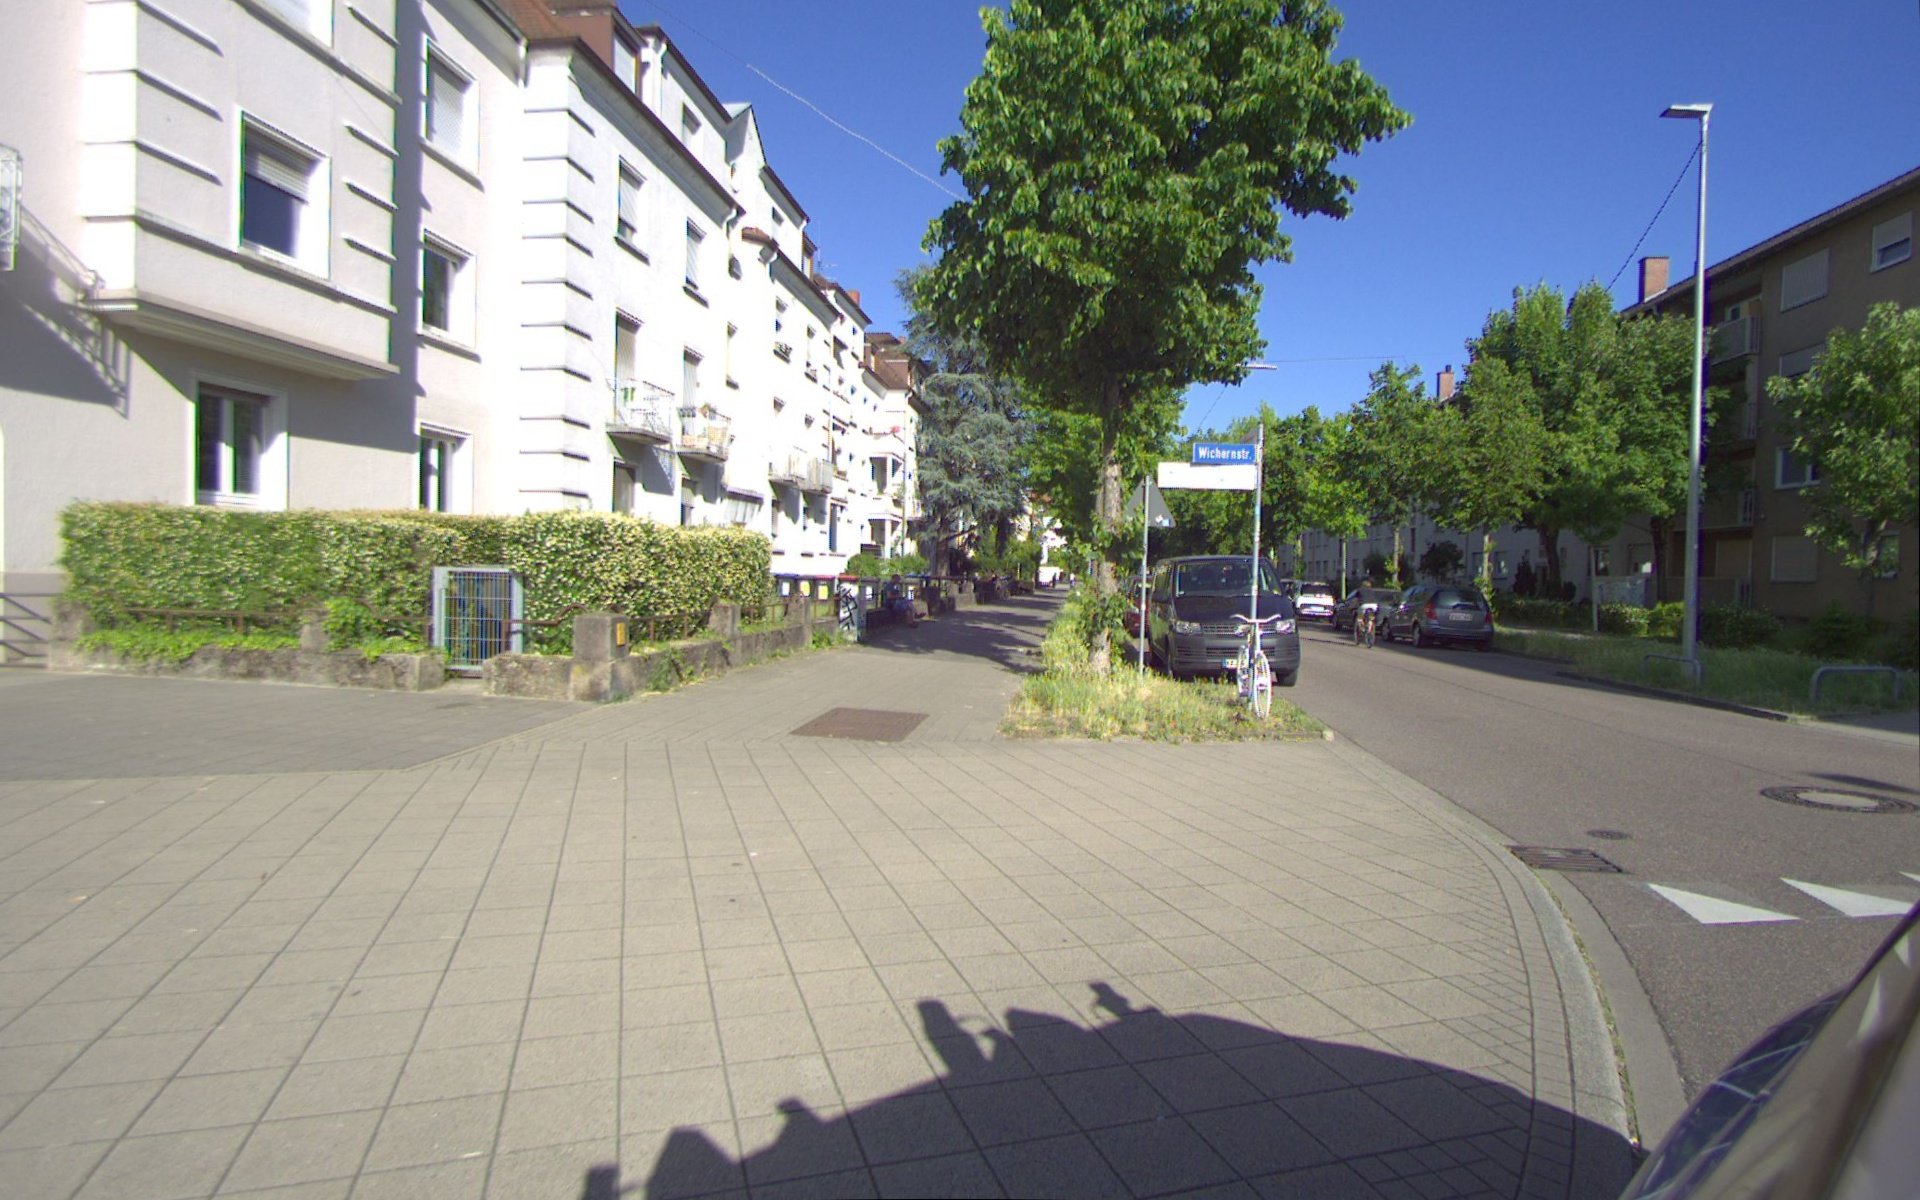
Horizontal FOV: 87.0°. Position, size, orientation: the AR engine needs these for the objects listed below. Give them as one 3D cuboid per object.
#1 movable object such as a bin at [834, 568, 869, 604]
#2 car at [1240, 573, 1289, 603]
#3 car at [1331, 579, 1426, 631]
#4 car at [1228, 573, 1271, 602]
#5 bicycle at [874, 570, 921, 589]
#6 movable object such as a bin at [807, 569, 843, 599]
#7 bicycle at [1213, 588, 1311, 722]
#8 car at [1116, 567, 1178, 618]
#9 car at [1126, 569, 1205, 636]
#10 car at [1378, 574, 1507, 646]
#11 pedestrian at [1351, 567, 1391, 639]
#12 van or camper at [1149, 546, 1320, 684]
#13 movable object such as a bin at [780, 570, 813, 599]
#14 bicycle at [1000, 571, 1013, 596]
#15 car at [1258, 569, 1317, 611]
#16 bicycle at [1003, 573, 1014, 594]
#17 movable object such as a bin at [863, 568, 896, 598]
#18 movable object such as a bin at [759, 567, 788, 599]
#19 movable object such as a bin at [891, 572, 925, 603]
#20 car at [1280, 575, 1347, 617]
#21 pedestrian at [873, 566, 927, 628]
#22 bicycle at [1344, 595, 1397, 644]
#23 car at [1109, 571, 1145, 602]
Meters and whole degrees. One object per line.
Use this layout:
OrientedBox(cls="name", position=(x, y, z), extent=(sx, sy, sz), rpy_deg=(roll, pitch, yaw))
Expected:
OrientedBox(cls="movable object such as a bin", position=(-3.222, -0.417, 30.114), extent=(0.766, 1.039, 1.006), rpy_deg=(-1, 2, 12))
OrientedBox(cls="car", position=(15.510, -0.642, 51.766), extent=(1.634, 1.409, 4.230), rpy_deg=(1, 2, 7))
OrientedBox(cls="car", position=(13.042, 0.103, 31.777), extent=(1.636, 1.412, 4.086), rpy_deg=(-1, 2, 6))
OrientedBox(cls="car", position=(16.102, -0.727, 56.513), extent=(1.626, 1.462, 3.961), rpy_deg=(2, 3, 7))
OrientedBox(cls="bicycle", position=(-2.827, -0.932, 45.952), extent=(2.033, 0.779, 0.625), rpy_deg=(-3, 2, 9))
OrientedBox(cls="movable object such as a bin", position=(-4.038, -0.488, 30.304), extent=(0.766, 0.873, 1.006), rpy_deg=(-1, 2, 13))
OrientedBox(cls="bicycle", position=(3.130, 0.514, 10.656), extent=(0.520, 1.208, 2.029), rpy_deg=(1, 2, 4))
OrientedBox(cls="car", position=(6.792, -0.332, 37.131), extent=(1.904, 1.586, 4.585), rpy_deg=(3, 3, 8))
OrientedBox(cls="car", position=(5.669, -0.020, 28.438), extent=(1.873, 1.633, 4.962), rpy_deg=(1, 2, 8))
OrientedBox(cls="car", position=(12.324, 0.183, 26.157), extent=(1.696, 1.581, 4.102), rpy_deg=(2, 2, 7))
OrientedBox(cls="pedestrian", position=(9.724, 0.053, 23.973), extent=(0.681, 1.660, 1.043), rpy_deg=(-1, 2, 13))
OrientedBox(cls="van or camper", position=(4.272, 0.105, 16.610), extent=(1.962, 1.885, 5.378), rpy_deg=(-1, 2, 7))
OrientedBox(cls="movable object such as a bin", position=(-4.888, -0.478, 30.302), extent=(0.766, 0.832, 0.740), rpy_deg=(-1, 2, 12))
OrientedBox(cls="bicycle", position=(2.323, -0.849, 50.556), extent=(0.482, 1.212, 2.172), rpy_deg=(-1, 2, 7))
OrientedBox(cls="car", position=(14.794, -0.501, 45.955), extent=(1.680, 1.700, 4.217), rpy_deg=(2, 3, 7))
OrientedBox(cls="bicycle", position=(2.568, -0.856, 53.111), extent=(0.426, 1.024, 2.247), rpy_deg=(-4, 2, 5))
OrientedBox(cls="movable object such as a bin", position=(-2.386, -0.509, 30.024), extent=(0.766, 0.873, 0.763), rpy_deg=(-1, 2, 12))
OrientedBox(cls="movable object such as a bin", position=(-5.632, -0.525, 30.580), extent=(0.662, 0.933, 0.594), rpy_deg=(-1, 2, 13))
OrientedBox(cls="movable object such as a bin", position=(-1.531, -0.386, 29.872), extent=(0.766, 0.873, 1.006), rpy_deg=(-1, 2, 12))
OrientedBox(cls="car", position=(14.161, -0.205, 40.739), extent=(1.692, 1.545, 3.995), rpy_deg=(-1, 2, 6))
OrientedBox(cls="pedestrian", position=(-1.329, -0.075, 22.591), extent=(1.067, 1.311, 0.818), rpy_deg=(-1, 2, 7))
OrientedBox(cls="bicycle", position=(9.732, 0.438, 24.055), extent=(0.540, 1.024, 1.918), rpy_deg=(0, 2, 3))
OrientedBox(cls="car", position=(8.808, -0.751, 53.507), extent=(1.582, 1.482, 3.867), rpy_deg=(-1, 2, 5))
